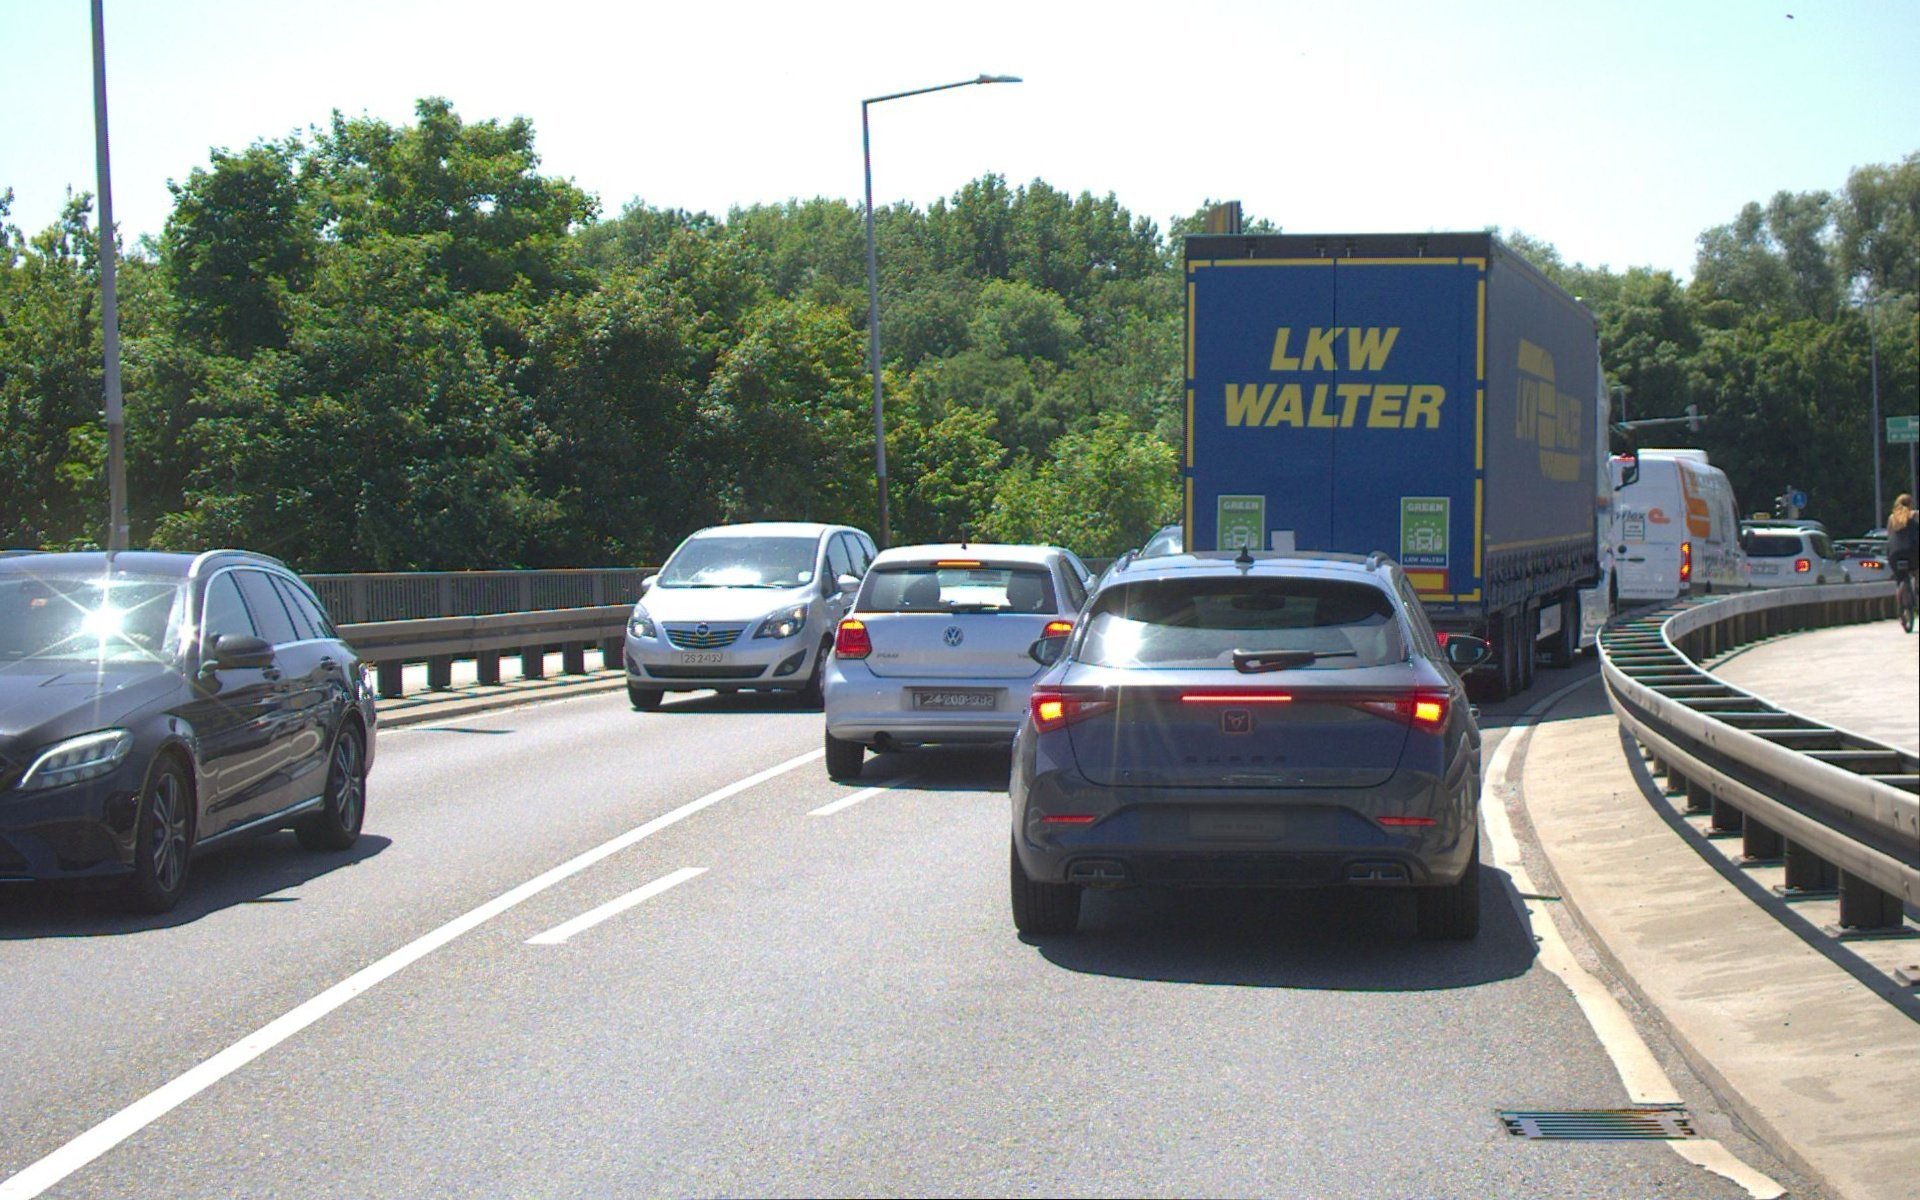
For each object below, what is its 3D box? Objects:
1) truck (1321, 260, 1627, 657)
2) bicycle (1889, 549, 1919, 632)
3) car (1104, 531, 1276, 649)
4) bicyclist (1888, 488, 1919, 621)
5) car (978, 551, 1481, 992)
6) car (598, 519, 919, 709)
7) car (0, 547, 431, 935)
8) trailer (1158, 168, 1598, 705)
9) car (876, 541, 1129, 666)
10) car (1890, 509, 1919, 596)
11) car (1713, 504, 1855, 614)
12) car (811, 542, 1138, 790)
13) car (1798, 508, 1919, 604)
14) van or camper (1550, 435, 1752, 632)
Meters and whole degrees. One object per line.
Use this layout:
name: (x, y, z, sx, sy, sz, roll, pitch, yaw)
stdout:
truck: (6.358, -1.662, 41.713, 2.906, 4.403, 6.551, 1, 1, 15)
bicycle: (12.318, -0.138, 44.227, 0.582, 1.032, 1.483, -2, 0, 19)
car: (3.412, -0.184, 50.309, 1.802, 1.635, 4.298, 0, 1, 14)
bicyclist: (12.286, -0.593, 44.193, 0.578, 1.677, 0.728, -2, 0, 19)
car: (1.203, 0.549, 13.660, 1.678, 1.451, 3.957, 1, 1, 9)
car: (-1.710, 0.079, 30.638, 1.737, 1.574, 4.174, 0, 1, 13)
car: (-3.822, 0.494, 15.098, 1.772, 1.434, 4.391, 0, 1, 8)
trailer: (4.562, -1.501, 34.571, 2.906, 4.403, 12.426, 1, 1, 14)
car: (0.556, 0.002, 39.867, 1.698, 1.371, 3.996, 0, 1, 20)
car: (21.568, -1.042, 74.706, 1.723, 1.837, 3.994, 1, 2, 28)
car: (14.529, -0.754, 60.503, 1.723, 1.837, 3.995, 1, 2, 24)
car: (0.180, 0.358, 22.425, 1.677, 1.406, 3.974, 1, 2, 7)
car: (17.657, -0.876, 66.874, 1.723, 1.796, 3.994, 1, 2, 27)
van or camper: (10.601, -1.028, 52.337, 2.156, 2.806, 6.381, 1, 1, 19)
